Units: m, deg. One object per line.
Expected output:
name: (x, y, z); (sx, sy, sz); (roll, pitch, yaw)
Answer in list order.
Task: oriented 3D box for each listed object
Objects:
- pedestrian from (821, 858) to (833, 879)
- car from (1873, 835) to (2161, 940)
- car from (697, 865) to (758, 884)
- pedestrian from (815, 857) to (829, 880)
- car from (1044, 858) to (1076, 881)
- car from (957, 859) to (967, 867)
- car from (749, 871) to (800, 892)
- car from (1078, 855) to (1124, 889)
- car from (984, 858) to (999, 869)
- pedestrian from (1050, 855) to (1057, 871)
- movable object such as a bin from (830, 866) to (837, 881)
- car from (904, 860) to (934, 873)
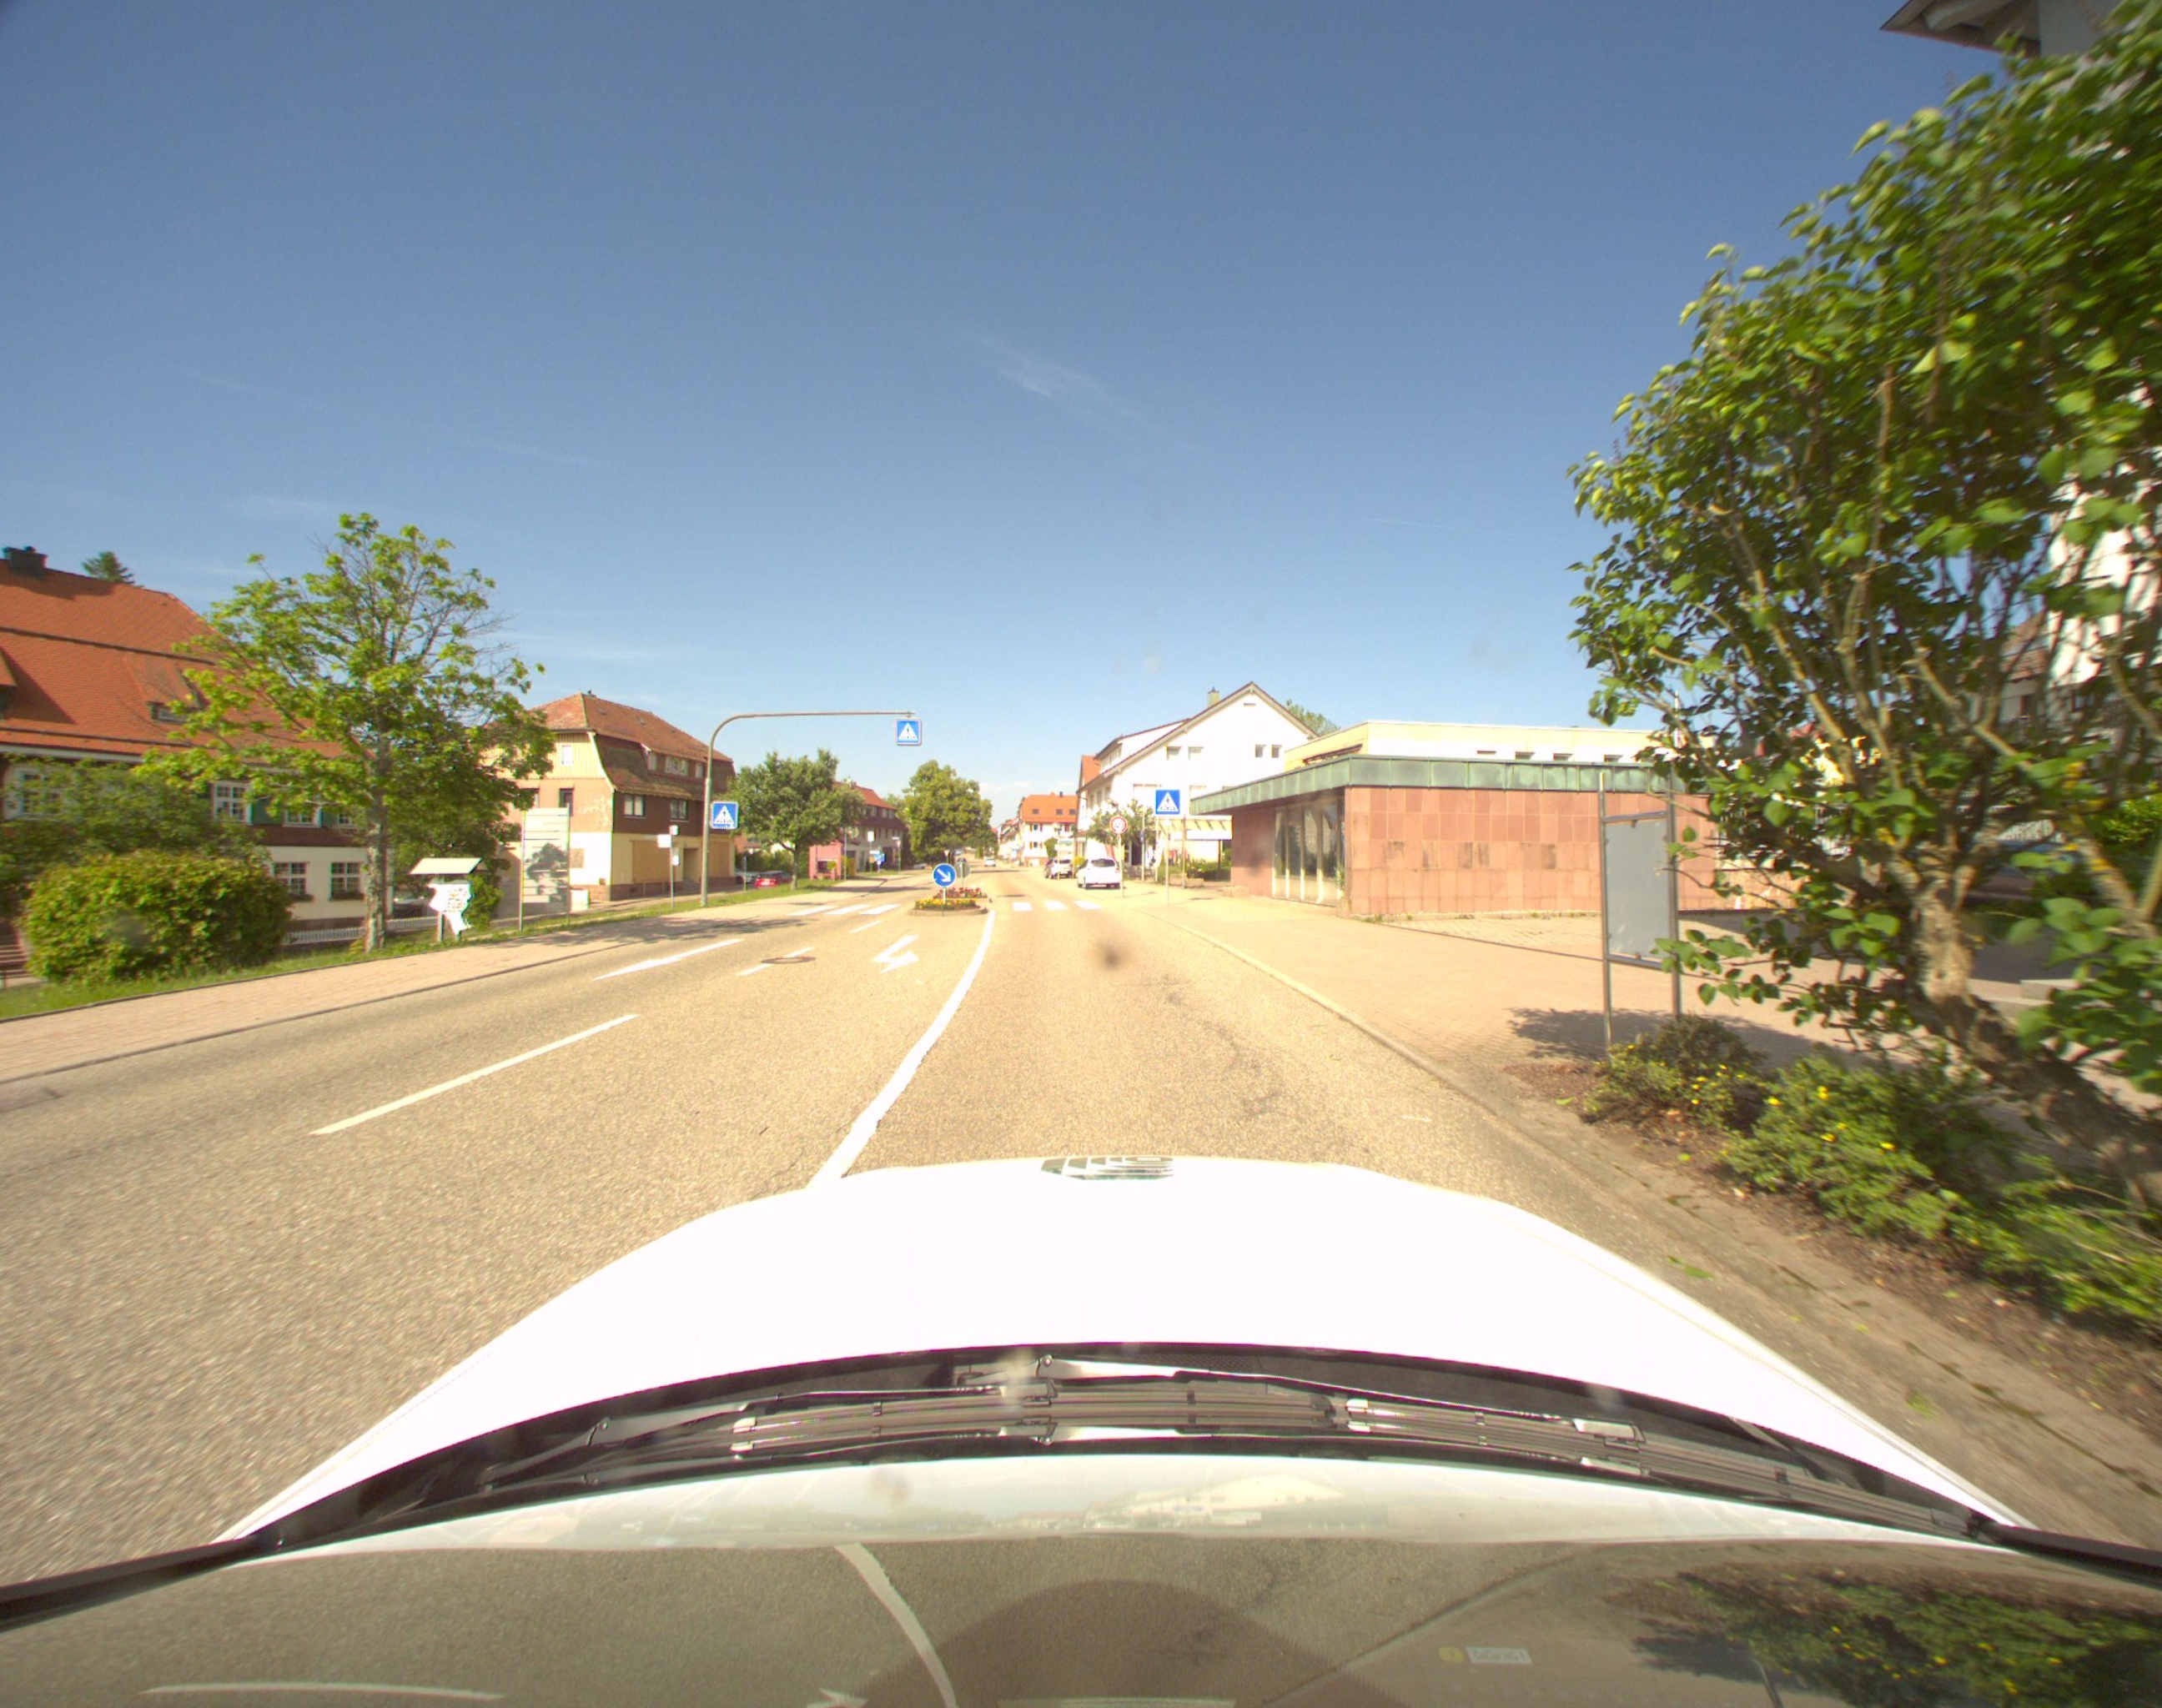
pedestrian: (-15.753, 0.885, 50.473); (0.629, 1.253, 0.422); (-3, 0, -10)
car: (18.110, 0.514, 15.330); (1.914, 1.649, 4.370); (-2, 0, -6)
car: (-29.380, 1.744, 67.753); (4.284, 1.512, 1.801); (0, -2, 3)
pedestrian: (-15.858, 0.865, 49.855); (0.617, 1.364, 0.672); (-3, 1, -8)
car: (-1.483, 1.052, 56.561); (1.635, 1.420, 3.921); (-2, 0, -10)
car: (-23.500, 1.795, 160.691); (1.671, 1.533, 3.526); (4, -1, -7)
car: (-22.339, 1.971, 59.497); (1.711, 1.297, 4.009); (-2, 0, 8)
car: (0.885, 0.807, 38.373); (1.757, 1.423, 3.628); (-2, 0, -4)
car: (-17.353, 1.787, 157.650); (2.496, 2.013, 4.288); (-3, 0, -11)
pedestrian: (-3.266, 1.042, 95.733); (0.797, 1.784, 0.979); (-2, 0, -2)
movable object such as a bin: (-14.489, 1.135, 47.601); (0.305, 0.837, 0.484); (-2, -1, -9)
car: (-22.821, 1.798, 114.528); (3.741, 1.455, 1.819); (-3, -6, 5)
